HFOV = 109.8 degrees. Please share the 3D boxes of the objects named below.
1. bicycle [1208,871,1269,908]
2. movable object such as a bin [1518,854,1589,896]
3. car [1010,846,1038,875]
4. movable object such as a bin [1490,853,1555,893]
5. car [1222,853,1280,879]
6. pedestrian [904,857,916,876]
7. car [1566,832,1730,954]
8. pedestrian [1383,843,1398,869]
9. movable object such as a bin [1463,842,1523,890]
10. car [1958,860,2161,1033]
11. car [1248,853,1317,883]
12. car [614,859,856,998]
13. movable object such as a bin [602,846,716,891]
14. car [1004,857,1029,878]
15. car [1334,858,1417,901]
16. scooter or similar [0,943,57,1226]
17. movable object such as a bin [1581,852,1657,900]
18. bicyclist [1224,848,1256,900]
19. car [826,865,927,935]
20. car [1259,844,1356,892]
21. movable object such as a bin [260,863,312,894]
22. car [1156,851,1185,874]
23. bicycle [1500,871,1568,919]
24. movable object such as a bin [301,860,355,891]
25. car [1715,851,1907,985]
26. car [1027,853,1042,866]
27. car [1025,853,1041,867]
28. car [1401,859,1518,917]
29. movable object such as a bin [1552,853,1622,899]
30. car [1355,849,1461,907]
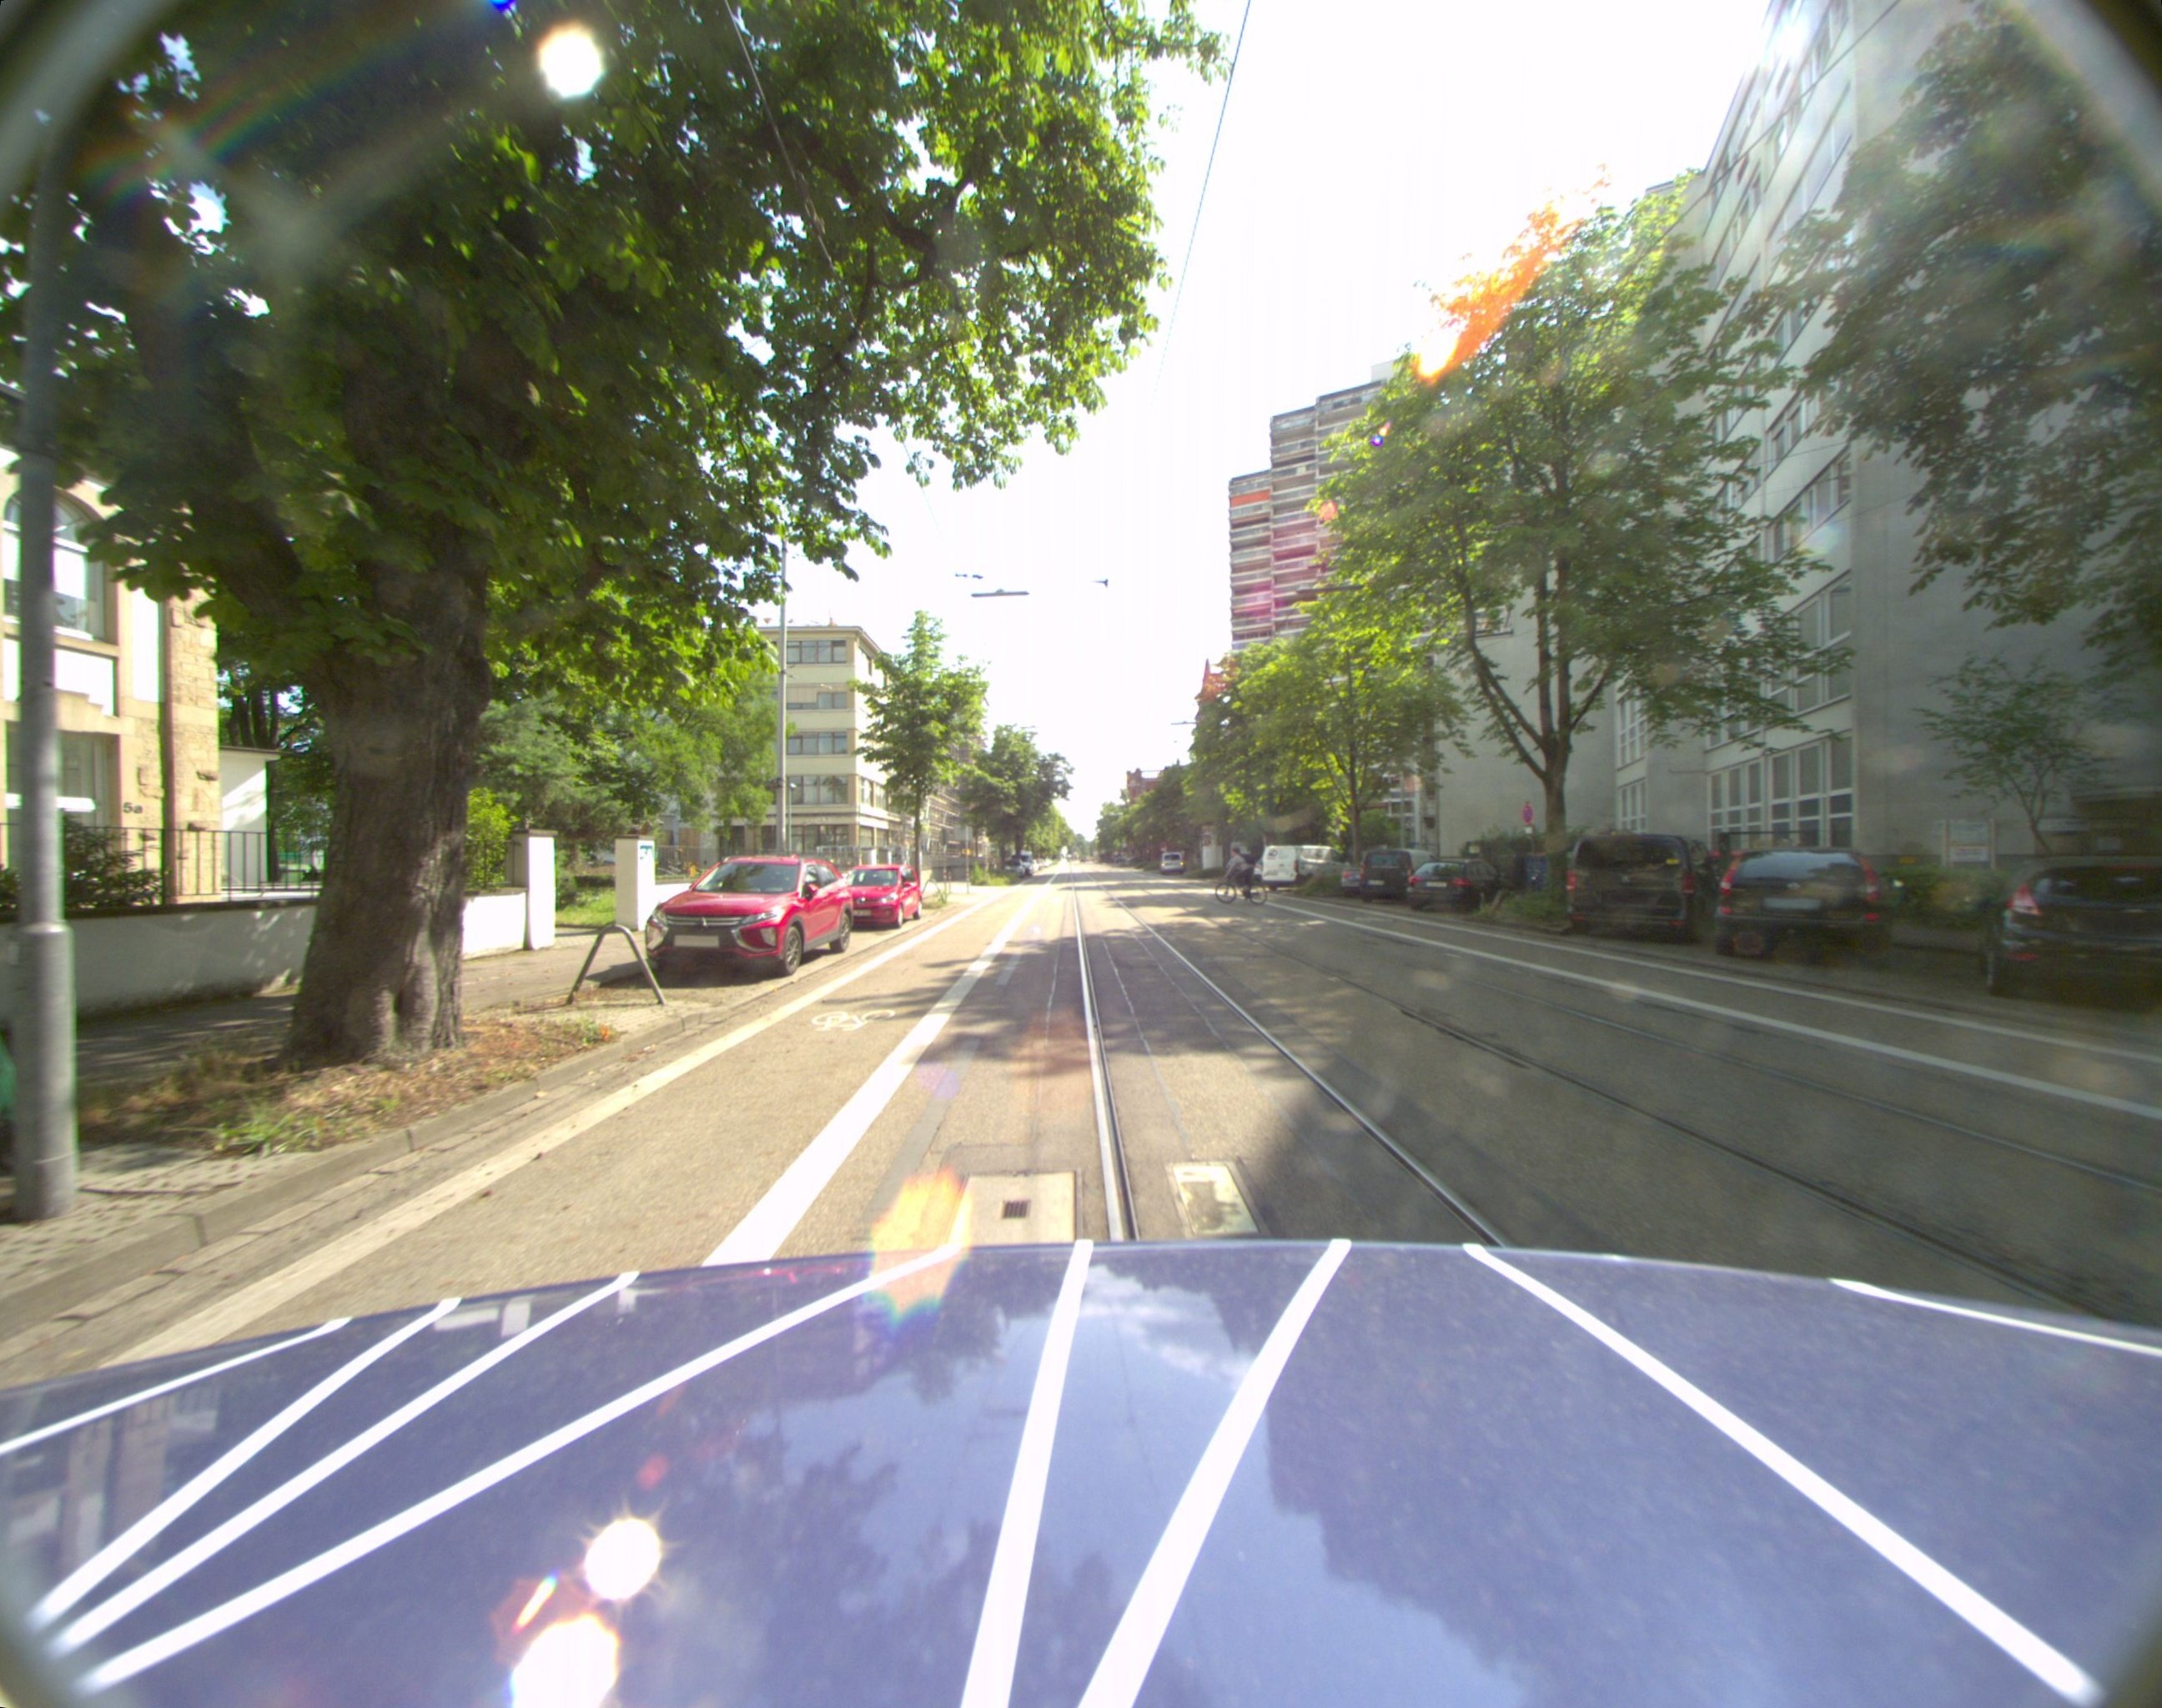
[{"bbox_3d":[4.858,1.070,23.548,0.658,1.034,1.995,-1,1,-32],"label":"bicycle"},{"bbox_3d":[16.217,0.706,26.152,1.391,1.356,1.538,2,1,-5],"label":"movable object such as a bin"},{"bbox_3d":[-5.506,0.590,74.337,2.337,2.545,5.389,-4,1,-2],"label":"car"},{"bbox_3d":[16.128,0.668,27.820,1.391,1.356,1.538,2,1,-5],"label":"movable object such as a bin"},{"bbox_3d":[10.659,0.731,47.512,1.737,1.514,3.893,-1,0,43],"label":"car"},{"bbox_3d":[-12.587,0.925,55.881,0.634,1.306,0.463,-3,3,7],"label":"pedestrian"},{"bbox_3d":[11.030,0.640,14.608,1.911,1.943,5.180,2,0,43],"label":"car"},{"bbox_3d":[19.926,0.125,48.882,0.642,1.615,0.661,-2,2,-9],"label":"pedestrian"},{"bbox_3d":[16.052,0.444,29.663,1.391,1.771,1.538,2,1,-5],"label":"movable object such as a bin"},{"bbox_3d":[10.733,0.843,8.023,4.009,1.475,1.736,1,0,-43],"label":"car"},{"bbox_3d":[10.955,0.740,41.158,1.817,1.492,4.202,-1,0,43],"label":"car"},{"bbox_3d":[-4.887,0.942,11.496,1.881,1.666,4.281,1,0,-3],"label":"car"},{"bbox_3d":[-24.292,0.889,43.850,5.445,2.428,1.995,2,-2,-40],"label":"movable object such as a bin"},{"bbox_3d":[-5.380,1.094,63.880,1.750,1.597,4.235,-4,1,-2],"label":"car"},{"bbox_3d":[10.795,0.885,27.720,1.717,1.409,4.009,2,0,38],"label":"car"},{"bbox_3d":[-5.184,1.046,3.026,0.341,1.230,1.261,3,1,23],"label":"scooter or similar"},{"bbox_3d":[15.987,0.637,22.643,1.167,1.320,1.441,2,1,-2],"label":"movable object such as a bin"},{"bbox_3d":[4.912,0.607,23.454,0.644,1.567,0.740,-1,1,-30],"label":"bicyclist"},{"bbox_3d":[-4.935,1.056,18.814,1.604,1.420,3.595,2,0,-2],"label":"car"},{"bbox_3d":[10.114,0.570,33.711,4.696,1.985,1.963,-1,0,-42],"label":"car"},{"bbox_3d":[-33.706,1.015,32.230,0.997,1.258,1.258,0,0,24],"label":"movable object such as a bin"},{"bbox_3d":[8.005,0.723,68.299,1.892,1.840,4.235,-4,1,-1],"label":"car"},{"bbox_3d":[11.386,1.010,19.070,2.004,1.112,0.582,-1,1,-31],"label":"bicycle"},{"bbox_3d":[-33.197,0.943,33.508,1.091,1.344,1.369,0,0,24],"label":"movable object such as a bin"},{"bbox_3d":[10.699,0.797,11.162,1.736,1.583,4.009,2,0,45],"label":"car"},{"bbox_3d":[-6.316,0.699,103.882,1.750,1.597,4.235,-4,1,-2],"label":"car"},{"bbox_3d":[-5.887,0.760,94.189,1.750,1.597,4.235,-4,1,-2],"label":"car"},{"bbox_3d":[10.399,0.874,20.754,1.755,1.409,4.009,2,0,43],"label":"car"},{"bbox_3d":[16.300,0.686,24.522,1.196,1.372,1.441,2,1,-4],"label":"movable object such as a bin"},{"bbox_3d":[10.410,0.731,24.093,3.724,1.683,1.755,1,0,-44],"label":"car"}]
